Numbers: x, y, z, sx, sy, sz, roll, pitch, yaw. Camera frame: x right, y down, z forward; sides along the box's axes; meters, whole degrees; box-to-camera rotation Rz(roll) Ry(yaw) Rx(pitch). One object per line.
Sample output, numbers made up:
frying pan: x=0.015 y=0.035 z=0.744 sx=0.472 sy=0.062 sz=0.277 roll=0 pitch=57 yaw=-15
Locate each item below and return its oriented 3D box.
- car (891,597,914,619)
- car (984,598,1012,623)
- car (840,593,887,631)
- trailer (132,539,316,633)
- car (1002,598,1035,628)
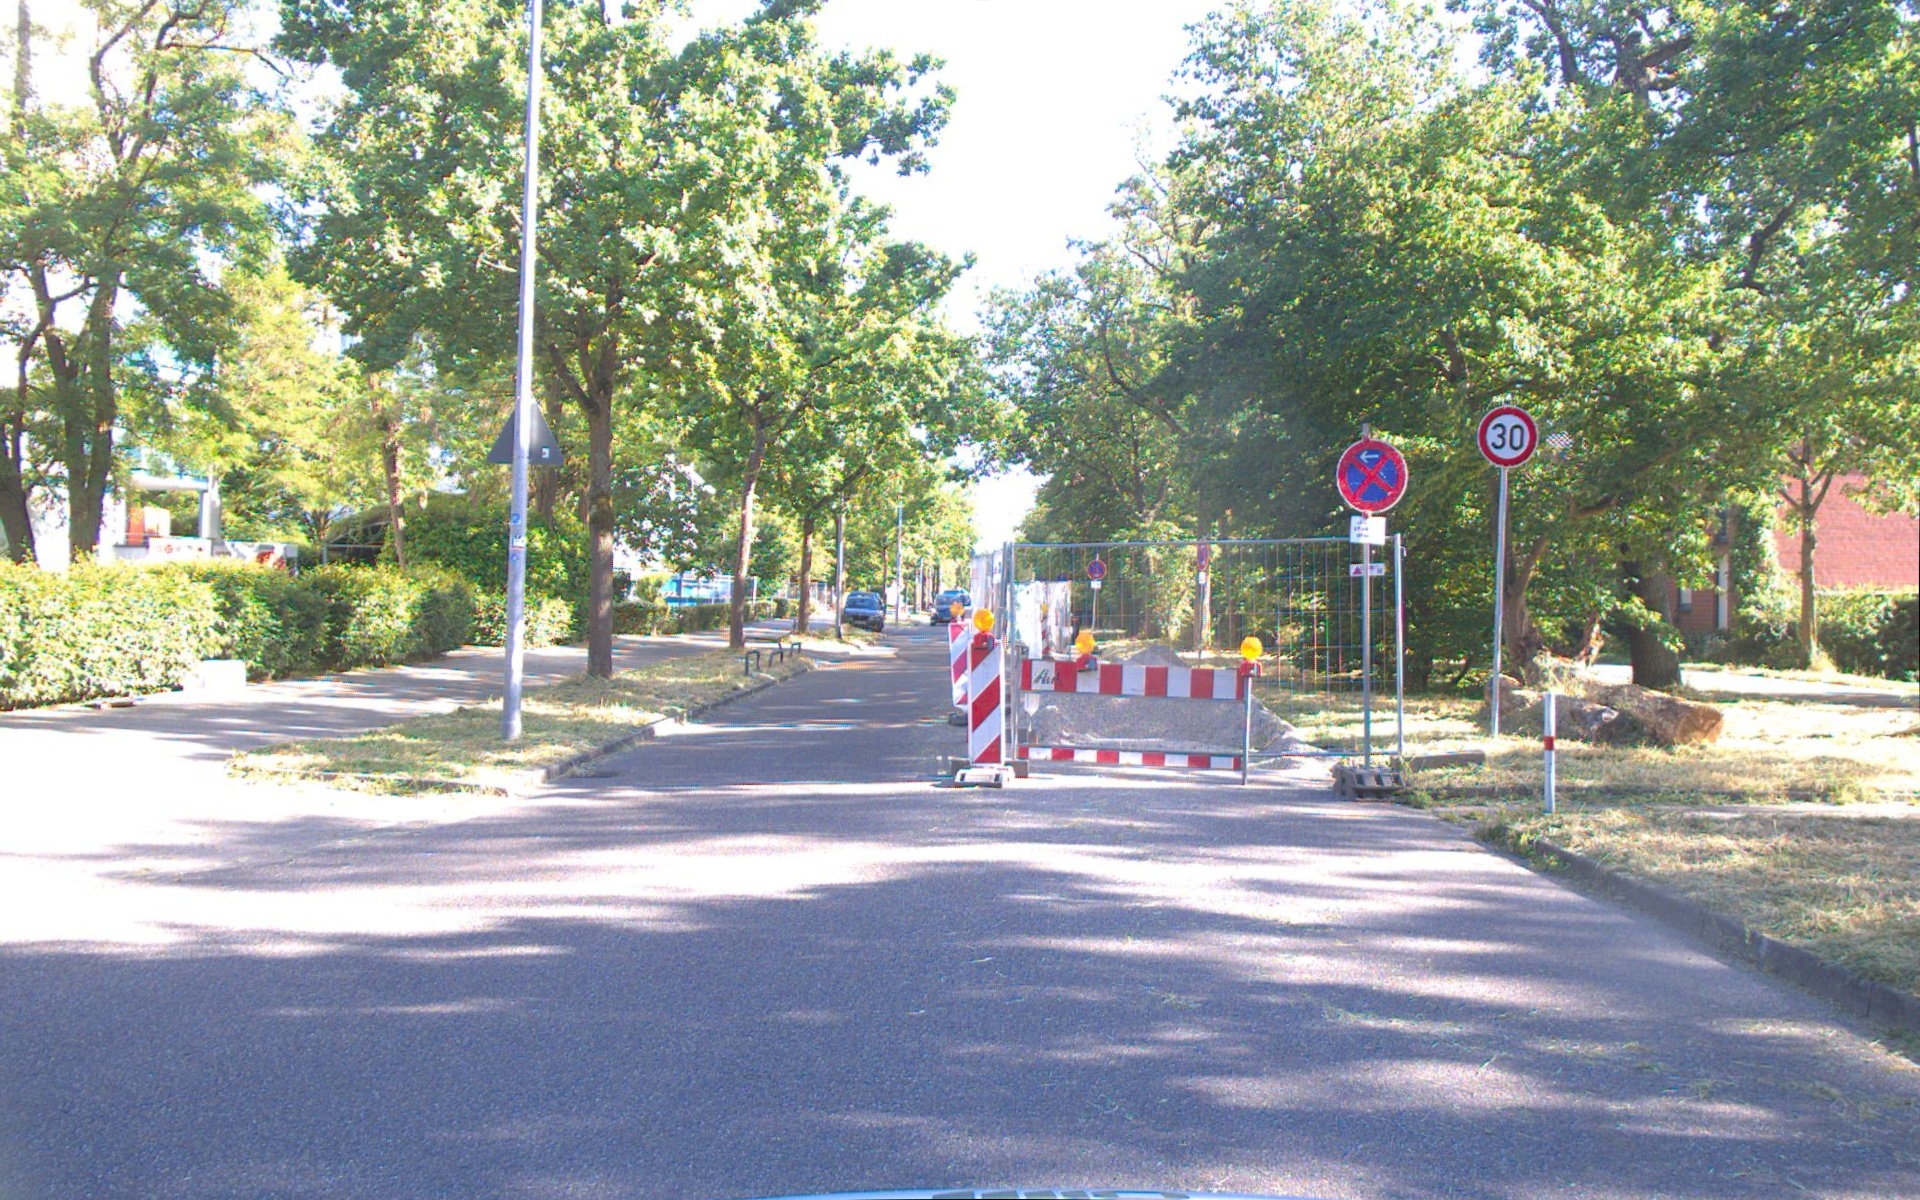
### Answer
car: x=-3.616 y=0.510 z=103.884 sx=1.334 sy=1.325 sz=3.480 roll=2 pitch=-1 yaw=-1
car: x=2.077 y=0.593 z=91.277 sx=1.334 sy=1.325 sz=3.480 roll=2 pitch=-1 yaw=-1
car: x=-3.981 y=0.479 z=68.600 sx=1.715 sy=1.504 sz=3.836 roll=1 pitch=0 yaw=0
trailer: x=-17.427 y=-0.317 z=39.423 sx=1.934 sy=2.078 sz=4.433 roll=1 pitch=0 yaw=8
car: x=2.753 y=0.611 z=78.302 sx=1.334 sy=1.325 sz=3.480 roll=2 pitch=-1 yaw=-1
